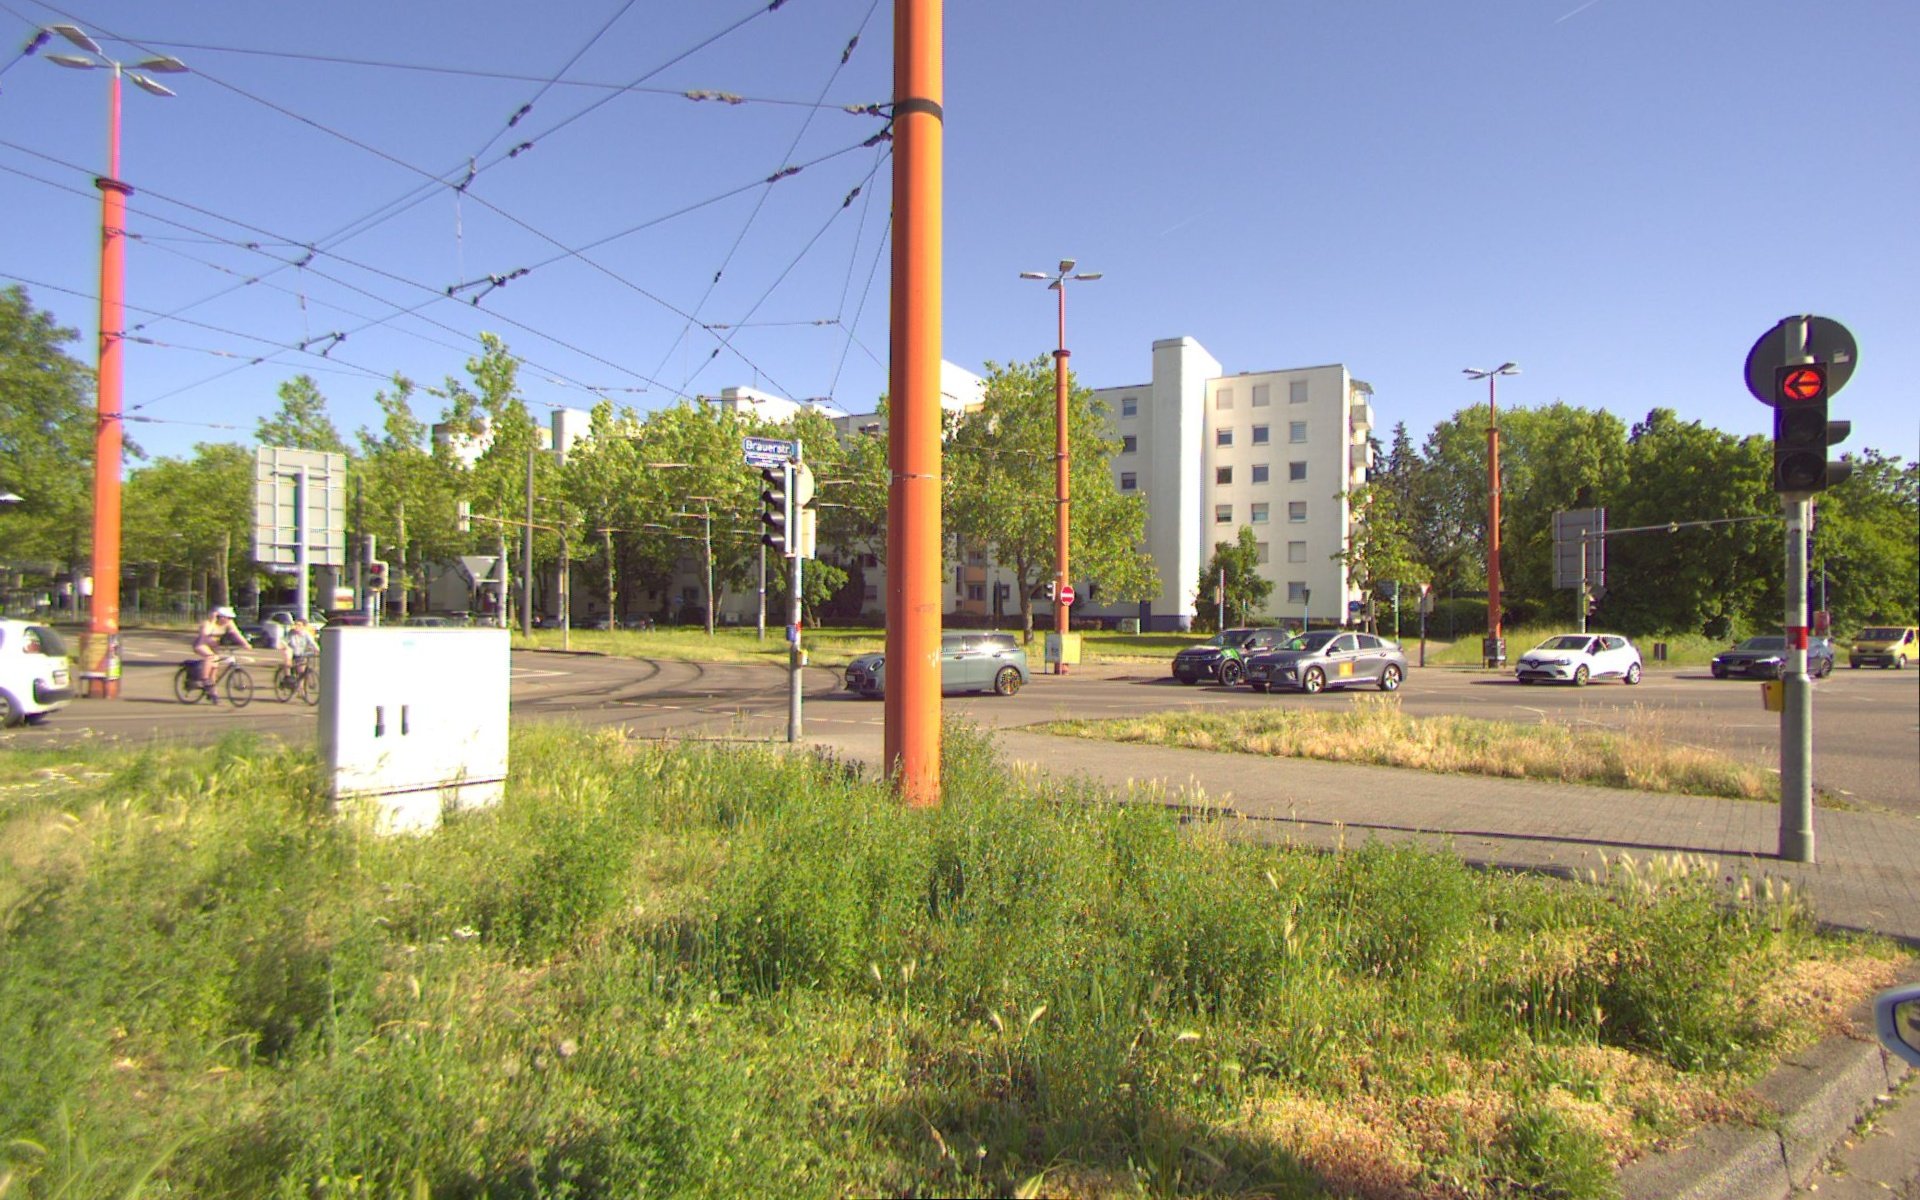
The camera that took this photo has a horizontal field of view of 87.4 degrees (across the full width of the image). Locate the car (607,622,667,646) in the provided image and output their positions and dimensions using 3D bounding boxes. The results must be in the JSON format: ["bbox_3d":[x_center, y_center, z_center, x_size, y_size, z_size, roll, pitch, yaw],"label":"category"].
[{"bbox_3d":[-23.178,2.454,72.252,3.934,1.617,1.890,2,0,-15],"label":"car"}]

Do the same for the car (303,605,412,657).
[{"bbox_3d":[-24.288,1.216,40.457,4.200,1.926,1.996,1,0,31],"label":"car"}]

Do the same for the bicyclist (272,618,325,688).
[{"bbox_3d":[-13.172,1.042,20.003,0.686,1.340,0.548,1,0,19],"label":"bicyclist"}]

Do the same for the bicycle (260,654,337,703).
[{"bbox_3d":[-13.181,1.552,20.008,1.594,0.894,0.368,1,0,19],"label":"bicycle"}]

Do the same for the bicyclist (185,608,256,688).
[{"bbox_3d":[-13.883,0.888,18.863,0.742,1.449,0.752,1,0,15],"label":"bicyclist"}]

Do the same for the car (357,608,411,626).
[{"bbox_3d":[-53.661,1.580,93.689,3.934,1.617,1.890,2,0,-15],"label":"car"}]

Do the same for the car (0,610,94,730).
[{"bbox_3d":[-15.425,0.982,14.538,4.010,1.730,1.793,2,-2,-29],"label":"car"}]

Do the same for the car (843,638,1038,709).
[{"bbox_3d":[-0.391,1.588,22.106,4.088,1.406,1.424,2,0,-28],"label":"car"}]

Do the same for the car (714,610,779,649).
[{"bbox_3d":[-13.839,1.897,65.050,3.934,2.341,1.890,2,0,-15],"label":"car"}]

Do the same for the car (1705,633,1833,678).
[{"bbox_3d":[26.871,1.810,33.337,4.737,1.386,1.622,1,-1,-29],"label":"car"}]

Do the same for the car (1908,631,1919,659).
[{"bbox_3d":[57.804,2.693,59.239,3.960,1.660,1.980,2,-1,-35],"label":"car"}]

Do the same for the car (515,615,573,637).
[{"bbox_3d":[-32.851,2.034,79.424,3.934,1.617,1.890,2,0,-15],"label":"car"}]

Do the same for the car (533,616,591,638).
[{"bbox_3d":[-30.772,2.077,77.780,3.934,1.617,1.890,2,0,-15],"label":"car"}]

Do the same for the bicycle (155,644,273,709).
[{"bbox_3d":[-14.067,1.421,18.928,2.313,1.095,0.474,1,0,17],"label":"bicycle"}]

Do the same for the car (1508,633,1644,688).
[{"bbox_3d":[17.672,1.703,28.797,3.901,1.478,1.598,1,-1,-29],"label":"car"}]

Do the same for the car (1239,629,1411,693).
[{"bbox_3d":[8.801,1.426,24.114,4.211,1.395,1.541,1,-1,-30],"label":"car"}]

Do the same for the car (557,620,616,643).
[{"bbox_3d":[-28.130,2.347,75.693,3.934,1.617,1.890,2,0,-15],"label":"car"}]

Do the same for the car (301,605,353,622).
[{"bbox_3d":[-63.530,1.369,100.853,3.934,1.617,1.890,2,0,-15],"label":"car"}]

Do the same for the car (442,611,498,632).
[{"bbox_3d":[-41.754,1.841,85.668,3.934,1.617,1.890,2,0,-15],"label":"car"}]

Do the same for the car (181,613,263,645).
[{"bbox_3d":[-34.758,1.345,47.286,3.930,1.339,1.732,1,0,31],"label":"car"}]

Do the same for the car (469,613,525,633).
[{"bbox_3d":[-38.555,1.914,83.786,3.934,1.617,1.890,2,0,-15],"label":"car"}]

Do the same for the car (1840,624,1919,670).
[{"bbox_3d":[43.452,2.203,47.110,4.730,2.013,1.750,2,0,-29],"label":"car"}]

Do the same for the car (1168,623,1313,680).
[{"bbox_3d":[7.651,1.398,27.295,3.838,1.452,1.538,2,-3,-29],"label":"car"}]

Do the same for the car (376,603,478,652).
[{"bbox_3d":[-23.089,1.151,43.473,4.200,1.926,1.996,1,0,31],"label":"car"}]

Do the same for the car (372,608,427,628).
[{"bbox_3d":[-50.988,1.634,91.408,3.934,1.617,1.890,2,0,-15],"label":"car"}]

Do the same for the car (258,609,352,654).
[{"bbox_3d":[-28.908,1.360,44.317,3.930,1.773,1.909,1,0,31],"label":"car"}]

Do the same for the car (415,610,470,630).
[{"bbox_3d":[-45.123,1.765,87.644,3.934,1.617,1.890,2,0,-15],"label":"car"}]

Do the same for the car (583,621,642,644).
[{"bbox_3d":[-25.667,2.403,74.231,3.934,1.617,1.890,2,0,-15],"label":"car"}]
